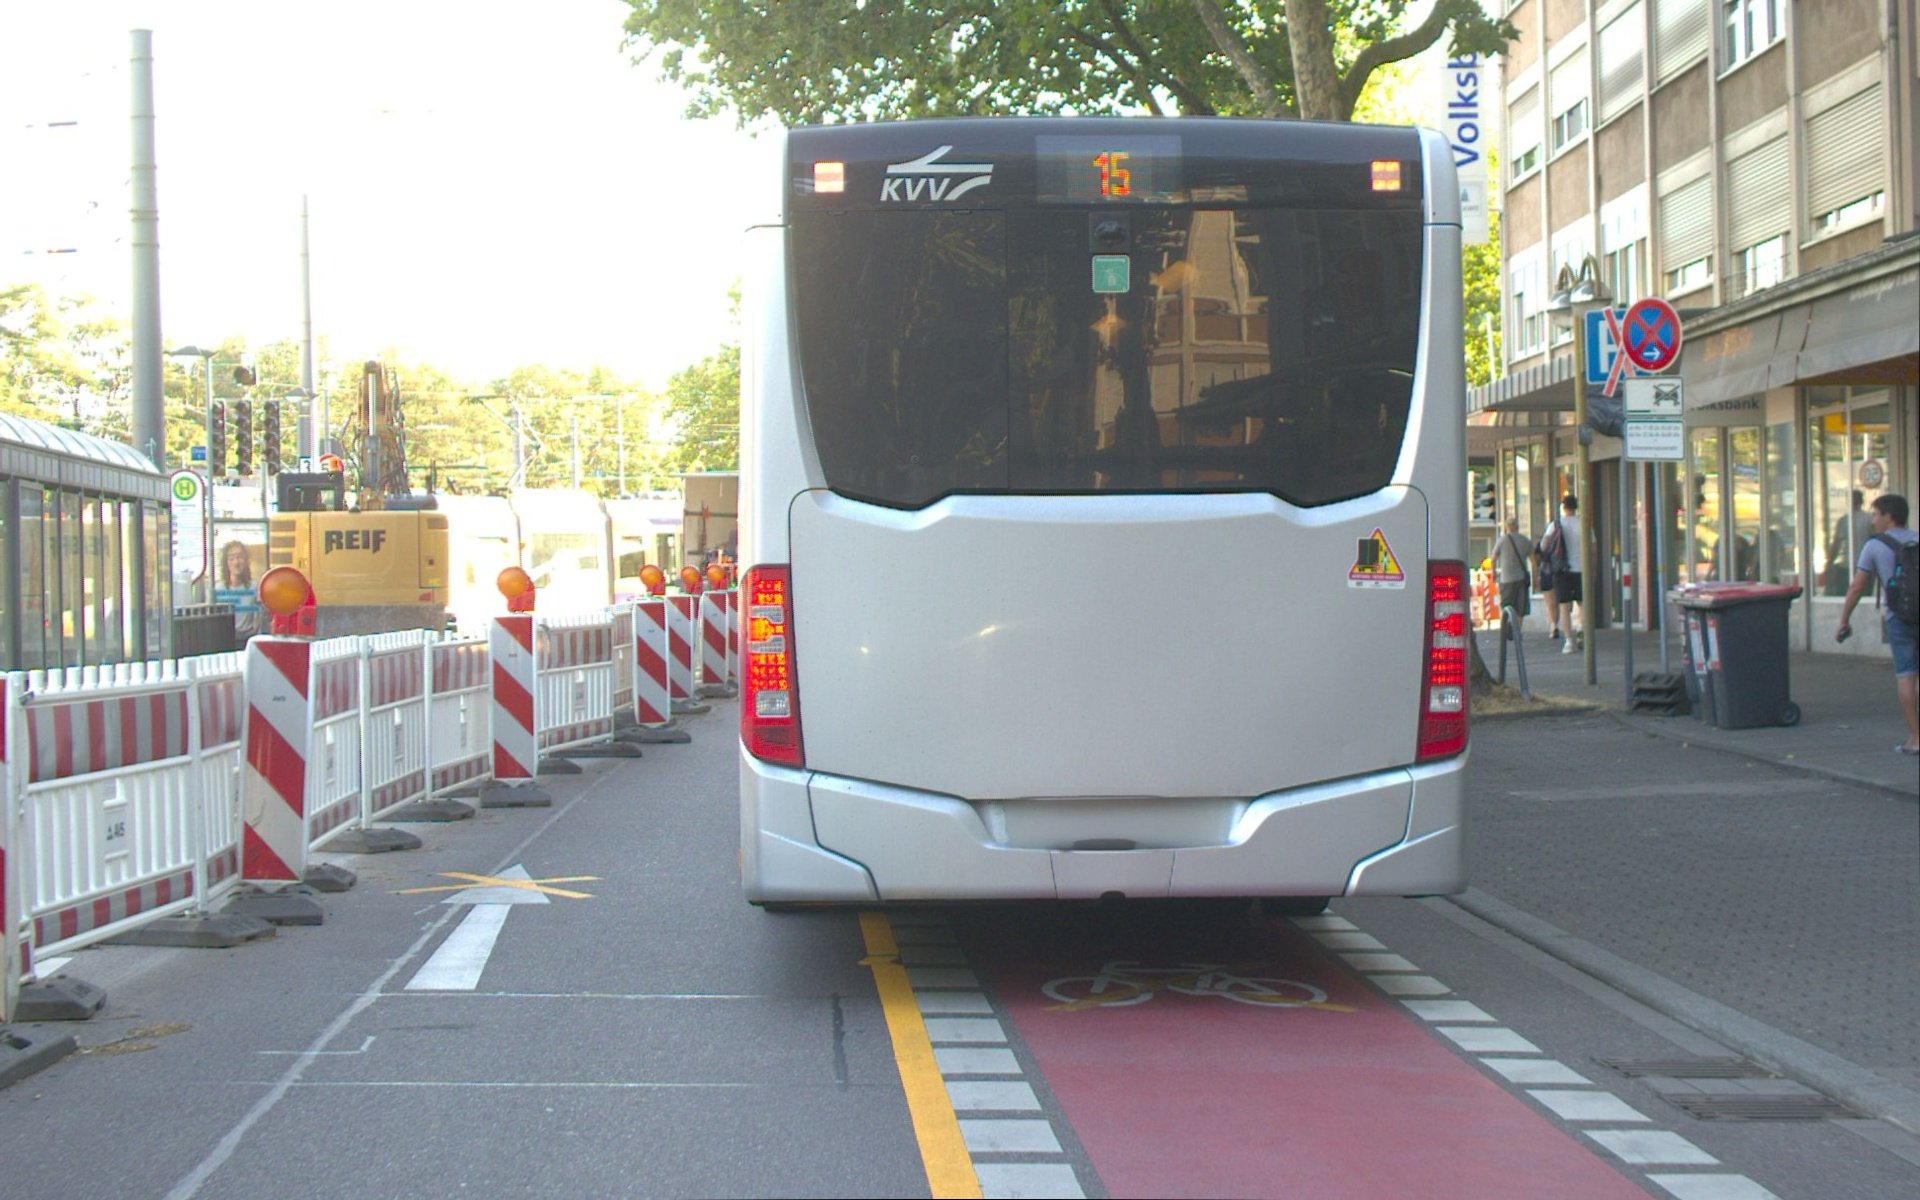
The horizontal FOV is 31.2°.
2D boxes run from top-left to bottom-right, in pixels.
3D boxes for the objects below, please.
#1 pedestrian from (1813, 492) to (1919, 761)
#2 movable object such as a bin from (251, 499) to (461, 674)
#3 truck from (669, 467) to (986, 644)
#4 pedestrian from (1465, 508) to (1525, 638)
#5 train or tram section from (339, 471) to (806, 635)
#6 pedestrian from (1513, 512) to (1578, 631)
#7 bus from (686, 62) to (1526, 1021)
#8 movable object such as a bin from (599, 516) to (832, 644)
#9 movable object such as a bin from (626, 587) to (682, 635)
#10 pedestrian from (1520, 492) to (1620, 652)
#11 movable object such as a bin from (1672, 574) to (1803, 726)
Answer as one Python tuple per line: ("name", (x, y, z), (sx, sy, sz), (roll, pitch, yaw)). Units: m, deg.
("pedestrian", (6.057, 0.149, 22.038), (0.843, 1.667, 0.990), (-3, 1, -1))
("movable object such as a bin", (-8.453, -0.220, 48.571), (2.642, 2.310, 4.903), (-1, 1, -7))
("truck", (-2.679, -0.964, 73.578), (2.816, 3.529, 8.971), (-1, 1, 26))
("pedestrian", (7.255, -0.369, 46.658), (0.583, 1.702, 0.679), (-4, 1, -1))
("train or tram section", (-8.735, -1.150, 80.355), (2.855, 3.521, 13.371), (-1, 1, 34))
("pedestrian", (7.942, -0.393, 46.653), (0.633, 1.568, 0.774), (-4, 1, -1))
("bus", (0.295, -0.268, 16.754), (2.733, 3.128, 10.704), (1, 1, -2))
("movable object such as a bin", (-4.458, -0.409, 63.662), (1.996, 2.249, 5.201), (1, 1, 25))
("movable object such as a bin", (-6.042, 0.210, 67.899), (0.932, 0.914, 1.420), (-1, 0, 1))
("pedestrian", (7.490, -0.349, 42.251), (0.838, 1.863, 1.100), (-5, 1, -1))
("movable object such as a bin", (5.881, 0.365, 26.059), (0.674, 1.071, 1.228), (-2, 2, -1))
